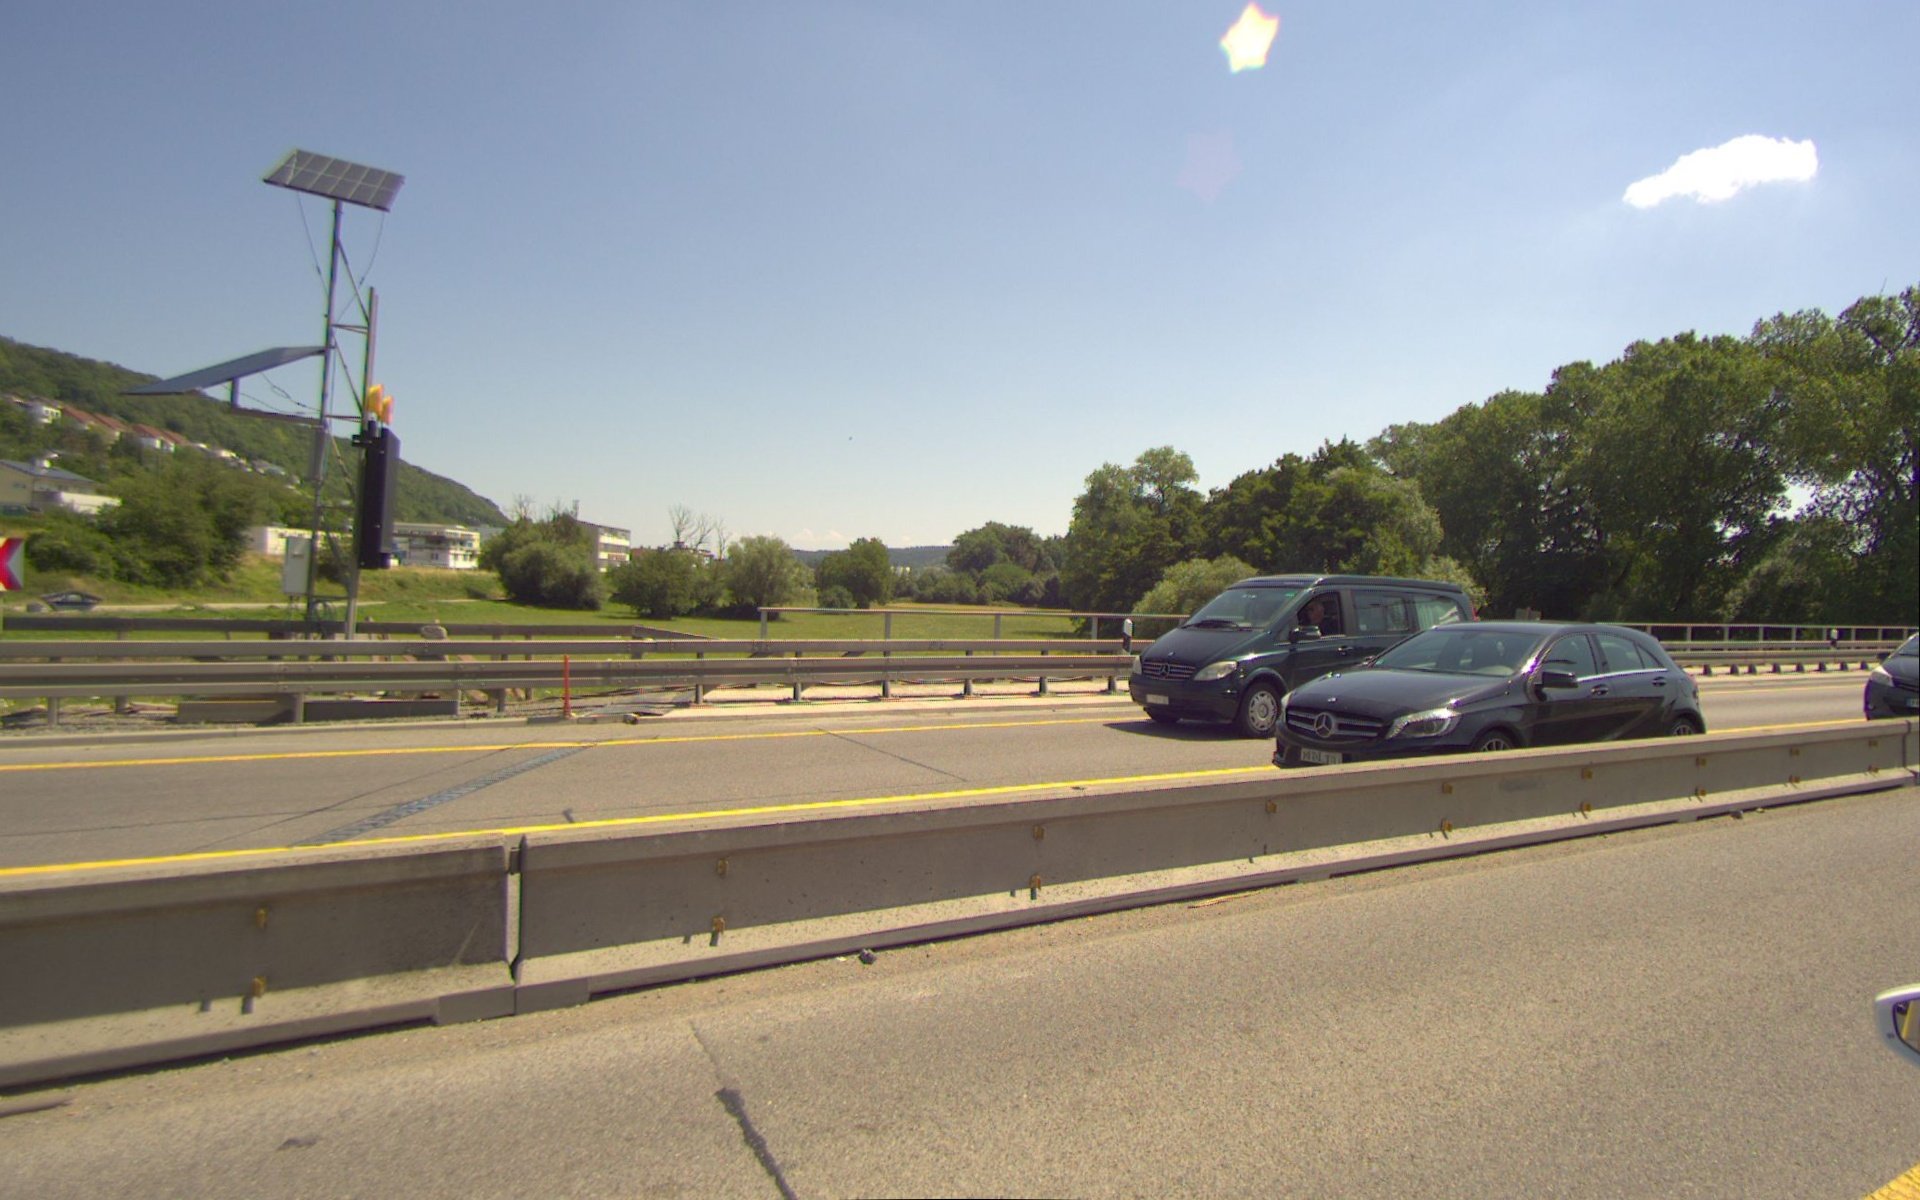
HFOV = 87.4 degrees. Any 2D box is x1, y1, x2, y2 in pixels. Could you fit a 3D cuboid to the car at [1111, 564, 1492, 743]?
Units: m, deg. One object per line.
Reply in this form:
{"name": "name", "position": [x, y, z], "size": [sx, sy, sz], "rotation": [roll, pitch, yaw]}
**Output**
{"name": "car", "position": [4.527, 0.607, 13.061], "size": [5.004, 1.969, 1.811], "rotation": [1, 1, -30]}

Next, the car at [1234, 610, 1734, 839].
{"name": "car", "position": [4.646, 0.903, 8.754], "size": [4.387, 1.516, 1.749], "rotation": [1, 1, -30]}

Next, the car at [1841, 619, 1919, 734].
{"name": "car", "position": [14.658, 1.082, 14.465], "size": [4.085, 1.516, 1.717], "rotation": [1, 1, -30]}
